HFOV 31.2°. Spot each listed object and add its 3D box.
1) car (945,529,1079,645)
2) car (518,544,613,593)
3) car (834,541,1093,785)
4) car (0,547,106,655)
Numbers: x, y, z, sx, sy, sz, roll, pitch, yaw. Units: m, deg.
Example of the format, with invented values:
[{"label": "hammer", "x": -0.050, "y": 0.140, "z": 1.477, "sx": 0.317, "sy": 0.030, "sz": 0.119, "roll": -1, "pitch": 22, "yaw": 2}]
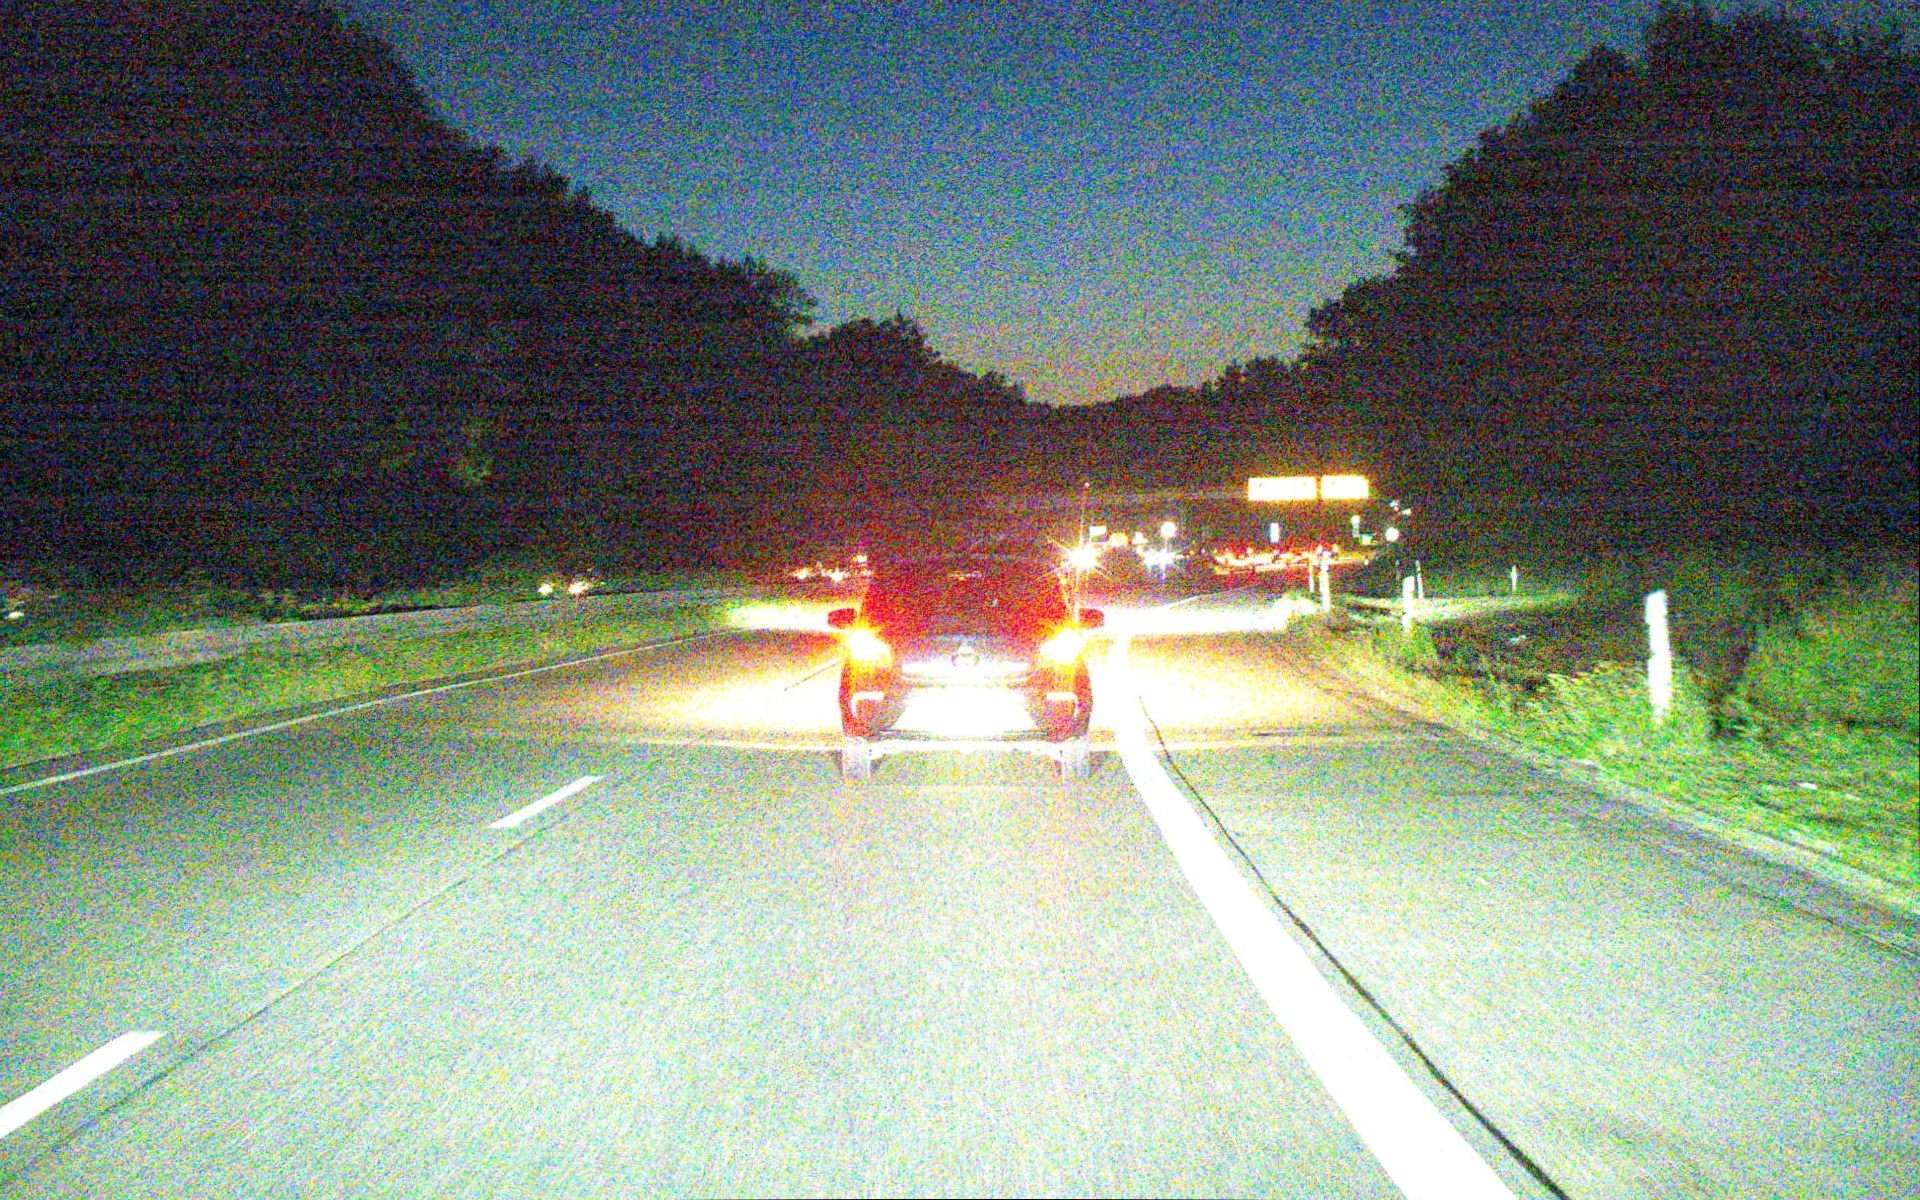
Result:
[{"label": "car", "x": 0.839, "y": -0.234, "z": 53.135, "sx": 1.906, "sy": 1.692, "sz": 4.000, "roll": -1, "pitch": 1, "yaw": 3}, {"label": "car", "x": -12.654, "y": -1.028, "z": 110.631, "sx": 1.822, "sy": 1.437, "sz": 4.474, "roll": -3, "pitch": 1, "yaw": 9}, {"label": "car", "x": -0.052, "y": 0.358, "z": 23.431, "sx": 1.588, "sy": 1.503, "sz": 4.001, "roll": 1, "pitch": 1, "yaw": -2}, {"label": "car", "x": -15.188, "y": 0.009, "z": 55.033, "sx": 1.993, "sy": 1.651, "sz": 4.535, "roll": -1, "pitch": 1, "yaw": -2}]
